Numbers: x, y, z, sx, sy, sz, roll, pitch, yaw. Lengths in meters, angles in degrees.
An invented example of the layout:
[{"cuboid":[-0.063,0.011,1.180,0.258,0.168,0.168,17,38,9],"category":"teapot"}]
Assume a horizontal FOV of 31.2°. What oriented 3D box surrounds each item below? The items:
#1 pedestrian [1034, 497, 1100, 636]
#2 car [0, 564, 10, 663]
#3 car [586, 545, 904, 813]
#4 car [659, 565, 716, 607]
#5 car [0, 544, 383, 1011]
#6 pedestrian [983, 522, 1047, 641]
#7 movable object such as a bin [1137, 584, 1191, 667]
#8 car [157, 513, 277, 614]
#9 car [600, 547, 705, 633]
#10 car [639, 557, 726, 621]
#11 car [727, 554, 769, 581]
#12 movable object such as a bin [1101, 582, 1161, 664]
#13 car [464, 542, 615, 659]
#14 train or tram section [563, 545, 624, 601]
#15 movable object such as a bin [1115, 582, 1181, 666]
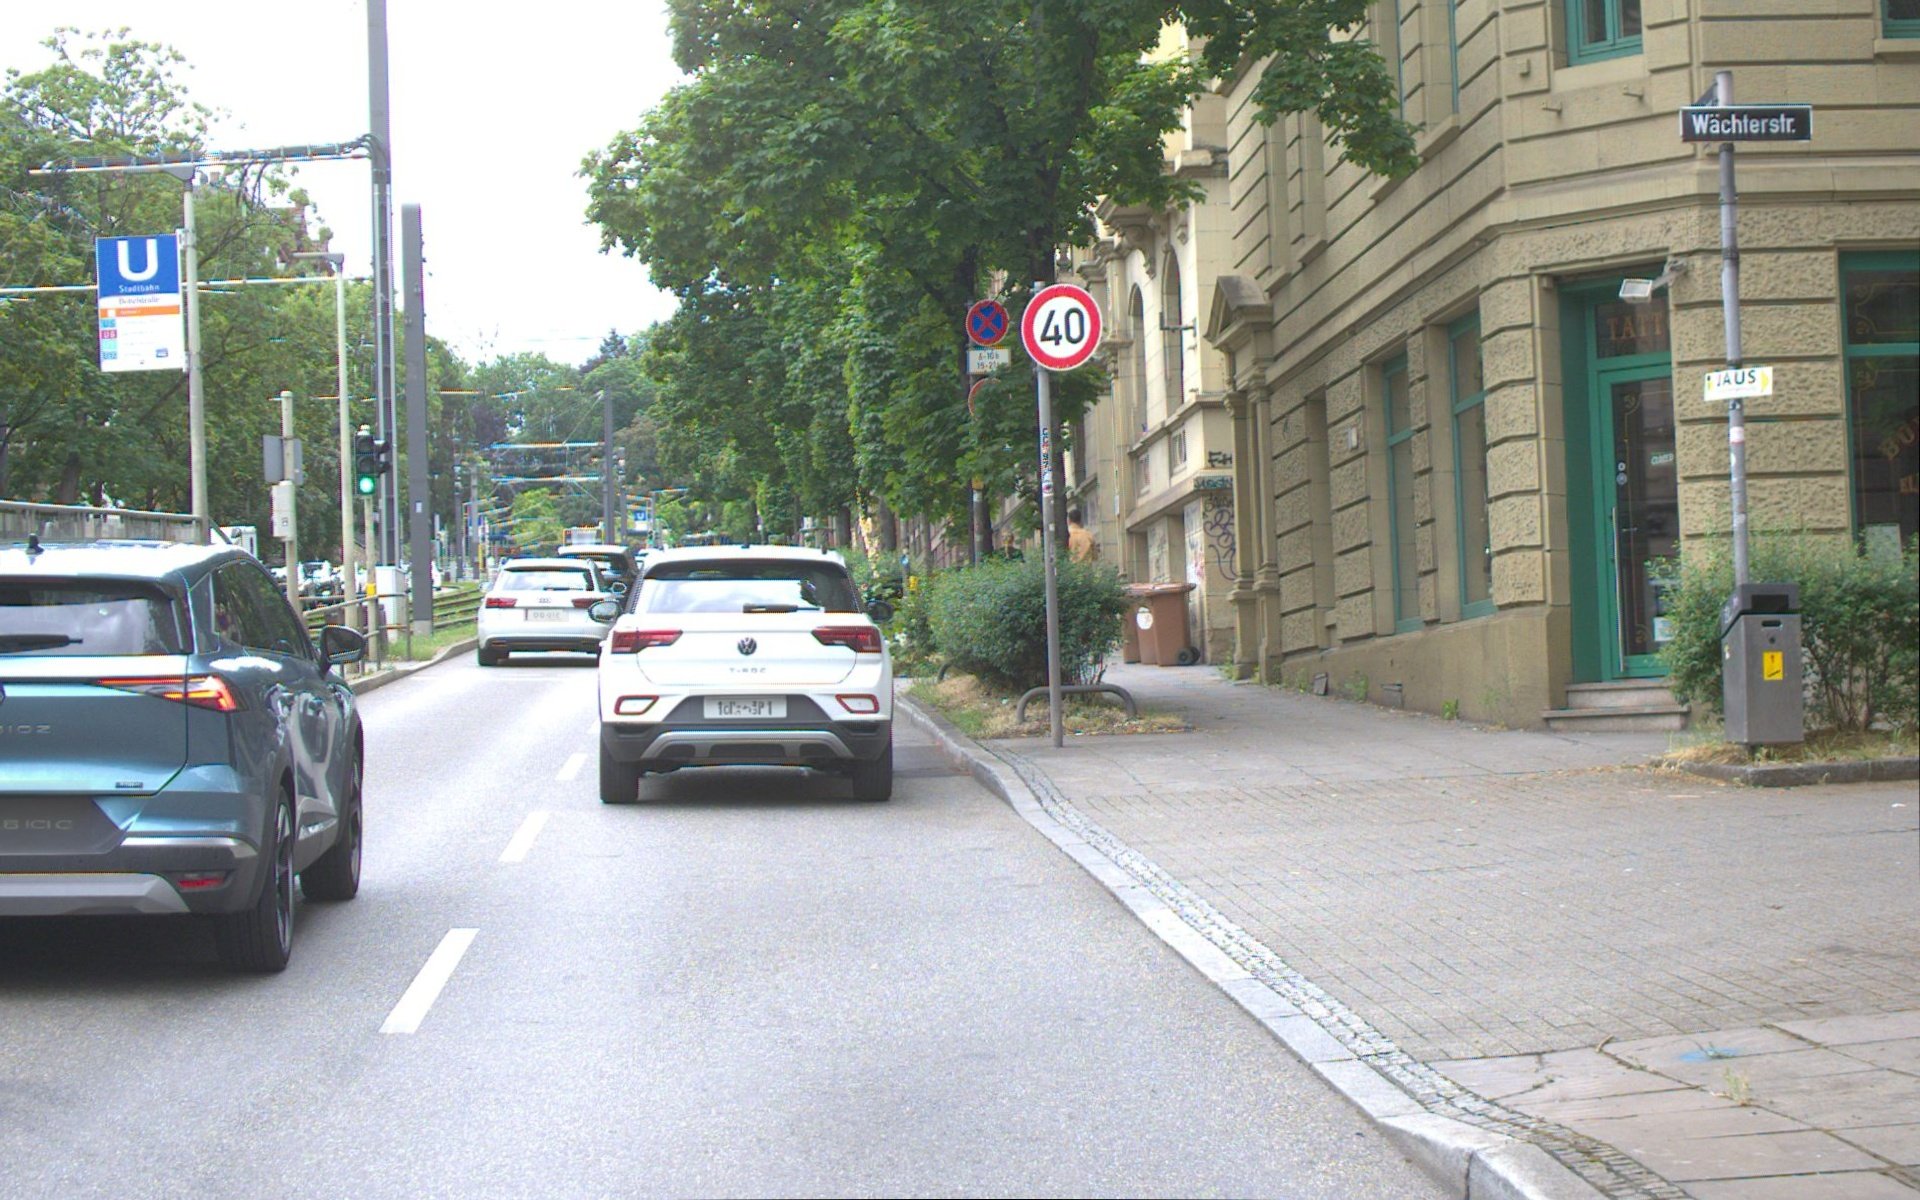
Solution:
[{"cuboid":[1.443,-0.453,46.582,0.685,1.823,1.121,-3,0,-4],"category":"pedestrian"},{"cuboid":[-17.531,0.281,58.399,1.709,1.730,4.577,-2,1,-3],"category":"car"},{"cuboid":[-1.418,0.444,21.988,1.835,1.541,4.194,0,0,-5],"category":"car"},{"cuboid":[-10.192,-0.534,128.474,2.068,1.541,4.194,0,0,-5],"category":"car"},{"cuboid":[-3.404,0.572,13.438,1.835,1.541,4.194,0,0,-4],"category":"car"},{"cuboid":[0.736,-0.259,46.649,0.685,1.569,1.217,-3,1,-4],"category":"pedestrian"},{"cuboid":[2.313,0.284,38.922,0.500,0.916,0.443,-2,1,16],"category":"movable object such as a bin"},{"cuboid":[-21.360,-1.051,99.097,2.392,2.690,6.519,-3,1,-4],"category":"car"},{"cuboid":[-5.673,-0.196,63.755,1.835,1.541,4.194,0,0,-4],"category":"car"},{"cuboid":[-6.938,-0.285,85.627,2.068,1.541,4.194,0,0,-6],"category":"car"},{"cuboid":[-12.216,-1.857,197.976,2.068,1.541,4.194,0,0,-8],"category":"car"},{"cuboid":[1.998,0.266,40.150,0.611,0.916,0.493,-3,1,-1],"category":"movable object such as a bin"},{"cuboid":[-5.772,-0.007,47.576,1.835,1.541,4.194,0,0,-4],"category":"car"},{"cuboid":[-22.804,-1.677,214.356,2.995,3.337,13.440,-1,0,-3],"category":"train or tram section"},{"cuboid":[2.164,0.276,39.569,0.493,0.916,0.500,-3,1,45],"category":"movable object such as a bin"}]
